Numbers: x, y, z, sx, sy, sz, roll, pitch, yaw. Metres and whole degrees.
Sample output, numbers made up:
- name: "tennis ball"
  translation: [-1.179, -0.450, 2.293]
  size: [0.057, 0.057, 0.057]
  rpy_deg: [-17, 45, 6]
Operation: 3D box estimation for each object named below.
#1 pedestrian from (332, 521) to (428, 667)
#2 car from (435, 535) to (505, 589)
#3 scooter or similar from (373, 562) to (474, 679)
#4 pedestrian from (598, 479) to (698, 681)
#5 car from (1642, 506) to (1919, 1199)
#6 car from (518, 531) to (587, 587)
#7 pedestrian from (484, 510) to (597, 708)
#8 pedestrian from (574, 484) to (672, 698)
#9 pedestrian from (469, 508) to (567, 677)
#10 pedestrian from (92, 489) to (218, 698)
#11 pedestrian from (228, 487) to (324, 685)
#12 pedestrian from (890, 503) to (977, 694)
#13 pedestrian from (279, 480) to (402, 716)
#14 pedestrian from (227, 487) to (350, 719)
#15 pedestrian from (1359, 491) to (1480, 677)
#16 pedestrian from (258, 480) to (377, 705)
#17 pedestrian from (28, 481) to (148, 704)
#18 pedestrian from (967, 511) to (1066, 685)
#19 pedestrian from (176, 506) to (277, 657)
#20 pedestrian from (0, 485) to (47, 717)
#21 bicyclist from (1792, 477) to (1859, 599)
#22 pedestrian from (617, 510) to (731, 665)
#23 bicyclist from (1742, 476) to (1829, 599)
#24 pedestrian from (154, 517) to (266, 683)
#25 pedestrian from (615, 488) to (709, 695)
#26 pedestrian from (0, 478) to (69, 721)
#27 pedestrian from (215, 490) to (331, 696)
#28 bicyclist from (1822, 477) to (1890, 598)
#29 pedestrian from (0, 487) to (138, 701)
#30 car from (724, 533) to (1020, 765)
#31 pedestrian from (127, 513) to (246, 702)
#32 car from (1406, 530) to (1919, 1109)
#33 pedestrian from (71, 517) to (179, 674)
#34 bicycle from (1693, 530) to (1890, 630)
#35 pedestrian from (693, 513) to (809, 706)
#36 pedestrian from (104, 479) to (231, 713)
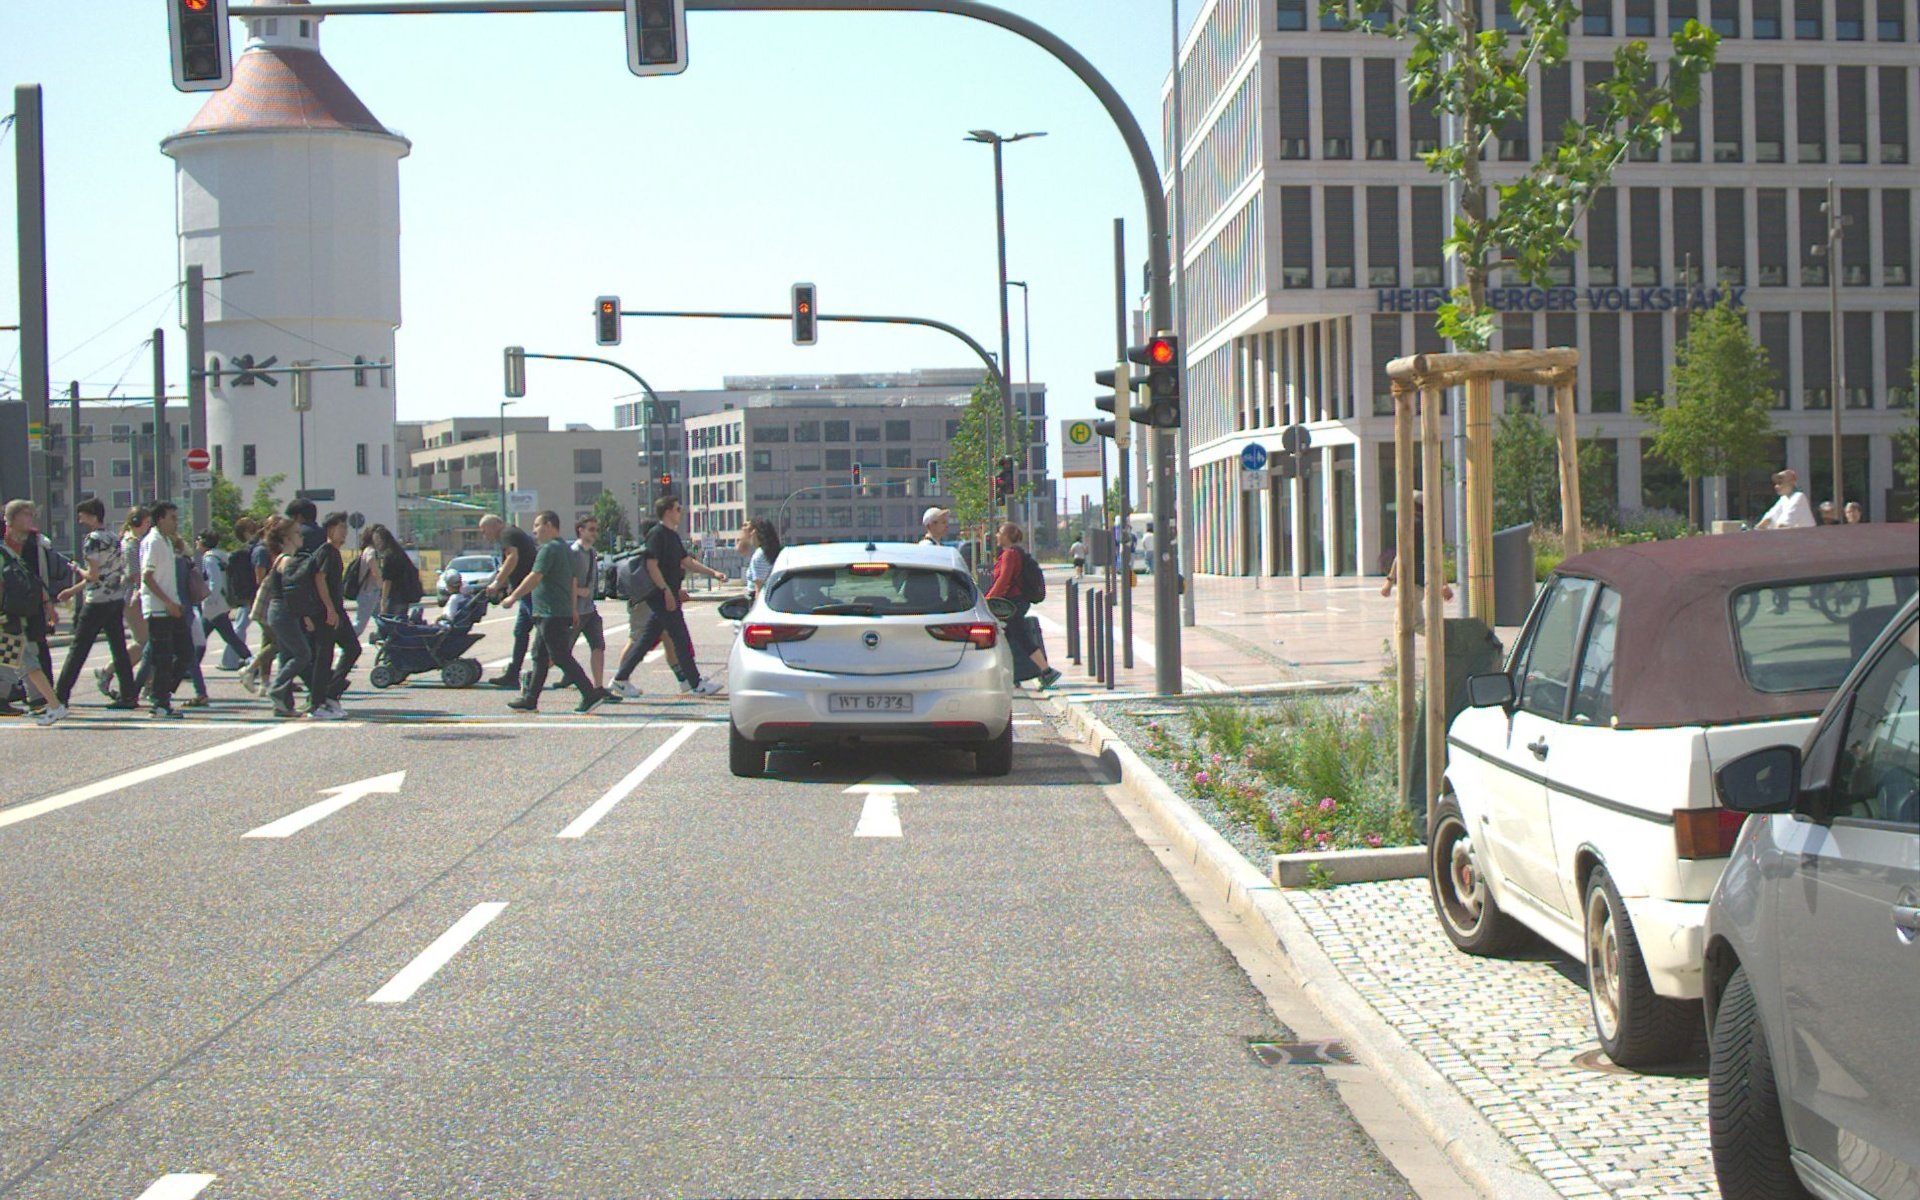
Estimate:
- name: "pedestrian"
  translation: [-6.622, -0.075, 39.311]
  size: [0.888, 1.641, 0.796]
  rpy_deg: [-1, 1, 3]
- name: "car"
  translation: [-14.054, -1.076, 98.662]
  size: [1.586, 1.525, 3.258]
  rpy_deg: [0, 0, -1]
- name: "scooter or similar"
  translation: [-5.311, 0.194, 34.001]
  size: [0.950, 1.114, 0.767]
  rpy_deg: [-1, 1, -10]
- name: "pedestrian"
  translation: [-2.964, -0.198, 32.683]
  size: [0.841, 1.884, 0.692]
  rpy_deg: [-1, 1, 0]
- name: "car"
  translation: [2.317, 0.557, 5.761]
  size: [1.556, 1.467, 3.470]
  rpy_deg: [-2, 1, -1]
- name: "car"
  translation: [-11.334, -1.124, 95.684]
  size: [1.586, 1.525, 3.693]
  rpy_deg: [0, 0, -2]
- name: "pedestrian"
  translation: [-3.540, 0.068, 29.057]
  size: [0.887, 1.629, 0.692]
  rpy_deg: [-1, 1, -5]
- name: "pedestrian"
  translation: [-3.025, -0.085, 30.914]
  size: [0.766, 1.884, 0.692]
  rpy_deg: [-1, 1, 0]
- name: "pedestrian"
  translation: [-4.400, -0.079, 34.174]
  size: [0.887, 1.641, 0.796]
  rpy_deg: [-1, 1, -10]
- name: "pedestrian"
  translation: [-7.433, -0.067, 31.771]
  size: [0.888, 1.884, 0.796]
  rpy_deg: [-1, 1, 4]
- name: "pedestrian"
  translation: [-6.604, -0.139, 33.210]
  size: [0.734, 1.884, 0.713]
  rpy_deg: [1, 1, 4]
- name: "pedestrian"
  translation: [-0.241, -0.021, 31.814]
  size: [0.766, 1.728, 0.692]
  rpy_deg: [-1, 1, 0]
- name: "pedestrian"
  translation: [-5.038, -0.024, 27.987]
  size: [0.887, 1.884, 0.692]
  rpy_deg: [-1, 1, -5]
- name: "pedestrian"
  translation: [-5.581, 0.013, 28.629]
  size: [0.887, 1.884, 0.796]
  rpy_deg: [-1, 1, -5]
- name: "pedestrian"
  translation: [4.169, -0.150, 31.244]
  size: [0.990, 1.649, 0.692]
  rpy_deg: [-1, 1, 1]
- name: "pedestrian"
  translation: [-5.499, -0.069, 29.457]
  size: [0.887, 1.884, 0.796]
  rpy_deg: [-1, 1, -5]
- name: "pedestrian"
  translation: [-7.531, -0.072, 29.722]
  size: [0.730, 1.884, 0.821]
  rpy_deg: [-1, 1, 5]
- name: "pedestrian"
  translation: [0.551, -0.025, 33.113]
  size: [0.888, 1.641, 0.796]
  rpy_deg: [-1, 1, 3]
- name: "pedestrian"
  translation: [-8.160, -0.210, 38.278]
  size: [0.888, 1.641, 0.796]
  rpy_deg: [-1, 1, 3]
- name: "pedestrian"
  translation: [-8.033, 0.011, 28.251]
  size: [0.887, 1.884, 0.692]
  rpy_deg: [-1, 1, -5]
- name: "bicyclist"
  translation: [9.843, -0.704, 39.092]
  size: [0.358, 1.355, 0.914]
  rpy_deg: [-1, 1, -11]
- name: "pedestrian"
  translation: [-3.412, -0.160, 41.167]
  size: [1.181, 1.814, 1.068]
  rpy_deg: [-1, 1, 3]
- name: "bicyclist"
  translation: [9.355, -0.709, 38.986]
  size: [0.615, 1.355, 0.901]
  rpy_deg: [-1, 1, -11]
- name: "pedestrian"
  translation: [-7.579, -0.008, 34.761]
  size: [0.888, 1.641, 0.796]
  rpy_deg: [-1, 1, 3]
- name: "pedestrian"
  translation: [-2.761, -0.087, 31.881]
  size: [0.766, 1.884, 0.692]
  rpy_deg: [-1, 1, 0]
- name: "pedestrian"
  translation: [-7.656, -0.002, 27.172]
  size: [1.013, 1.884, 0.798]
  rpy_deg: [-1, 1, -3]
- name: "pedestrian"
  translation: [-6.406, -0.073, 32.095]
  size: [0.888, 1.884, 0.796]
  rpy_deg: [-1, 1, -1]
- name: "bicyclist"
  translation: [10.204, -0.706, 39.166]
  size: [0.358, 1.355, 0.902]
  rpy_deg: [-1, 1, -11]
- name: "pedestrian"
  translation: [-7.979, -0.061, 30.739]
  size: [0.889, 1.884, 0.795]
  rpy_deg: [0, 1, 35]
- name: "car"
  translation: [-0.504, 0.300, 22.569]
  size: [1.771, 1.390, 3.531]
  rpy_deg: [0, 0, 1]
- name: "pedestrian"
  translation: [-6.848, 0.056, 30.471]
  size: [0.794, 1.641, 0.891]
  rpy_deg: [-1, 1, 1]
- name: "car"
  translation: [2.366, 0.495, 10.405]
  size: [1.429, 1.385, 4.000]
  rpy_deg: [-1, 1, -1]
- name: "pedestrian"
  translation: [-8.897, -0.055, 36.644]
  size: [0.888, 1.641, 0.796]
  rpy_deg: [-1, 1, 3]
- name: "bicycle"
  translation: [9.430, -0.238, 39.005]
  size: [1.961, 1.080, 0.905]
  rpy_deg: [-1, 1, -12]
- name: "pedestrian"
  translation: [-1.781, 0.076, 29.363]
  size: [0.767, 1.614, 0.691]
  rpy_deg: [-1, 1, 16]
- name: "pedestrian"
  translation: [-6.523, -0.040, 28.326]
  size: [0.887, 1.884, 0.692]
  rpy_deg: [-1, 1, -5]
